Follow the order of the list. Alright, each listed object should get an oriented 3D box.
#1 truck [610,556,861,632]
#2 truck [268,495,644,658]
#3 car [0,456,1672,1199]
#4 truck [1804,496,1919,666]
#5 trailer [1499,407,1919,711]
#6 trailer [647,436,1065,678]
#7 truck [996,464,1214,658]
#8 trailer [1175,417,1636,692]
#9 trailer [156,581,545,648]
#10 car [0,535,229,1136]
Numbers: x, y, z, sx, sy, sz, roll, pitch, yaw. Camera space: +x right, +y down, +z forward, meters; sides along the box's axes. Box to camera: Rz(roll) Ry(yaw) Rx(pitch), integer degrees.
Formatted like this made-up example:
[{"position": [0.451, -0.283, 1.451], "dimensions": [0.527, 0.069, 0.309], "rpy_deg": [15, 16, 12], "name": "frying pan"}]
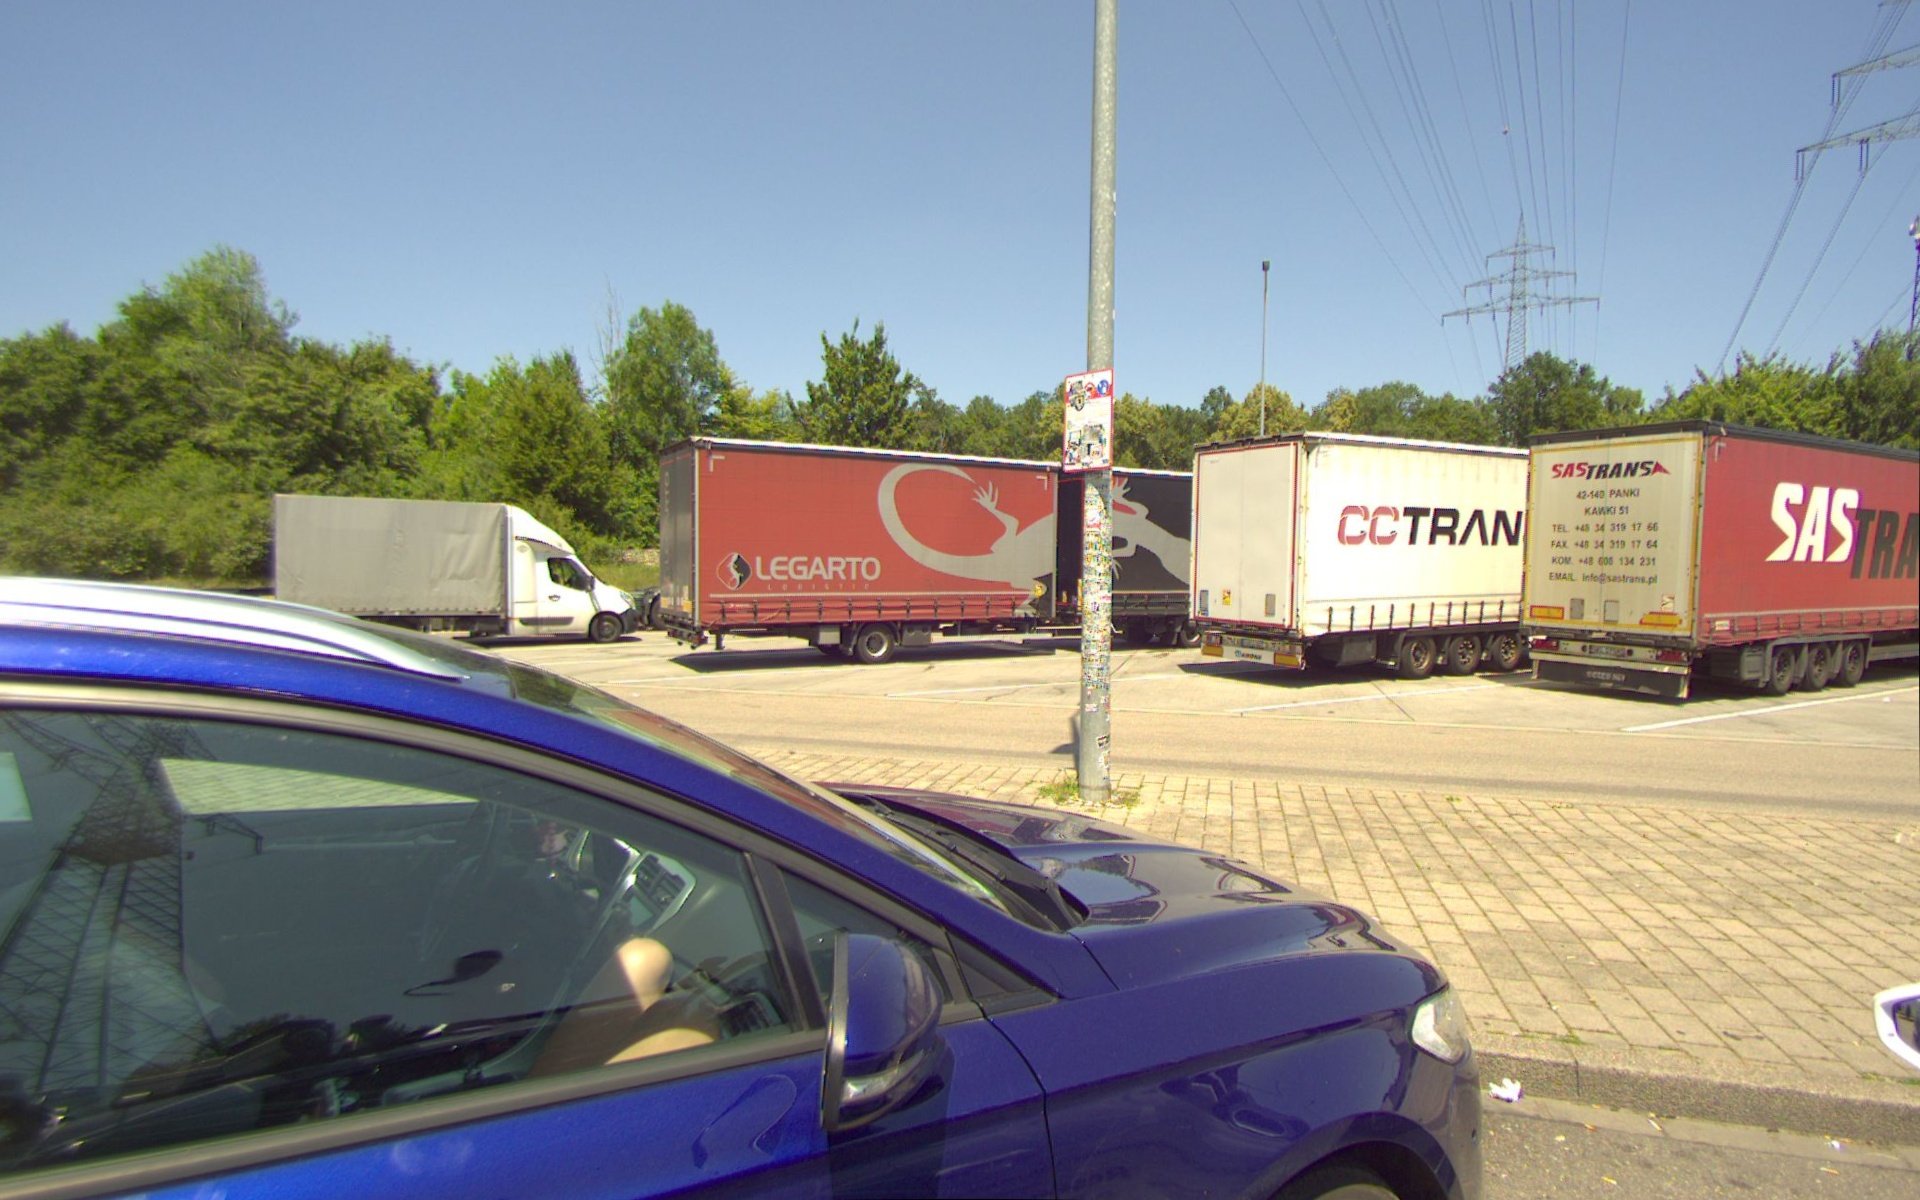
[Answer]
[{"position": [-6.485, -0.156, 29.521], "dimensions": [6.961, 2.040, 1.984], "rpy_deg": [0, 0, -30], "name": "truck"}, {"position": [-11.205, -0.567, 22.898], "dimensions": [7.254, 3.254, 2.515], "rpy_deg": [-1, 3, -30], "name": "truck"}, {"position": [-0.979, 0.652, 1.466], "dimensions": [4.592, 1.502, 1.727], "rpy_deg": [0, 0, -33], "name": "car"}, {"position": [21.725, -0.432, 22.307], "dimensions": [5.418, 3.475, 2.838], "rpy_deg": [-1, 3, -30], "name": "truck"}, {"position": [15.404, -0.703, 18.561], "dimensions": [13.559, 4.189, 2.892], "rpy_deg": [-1, 3, -30], "name": "trailer"}, {"position": [-1.928, -0.826, 20.263], "dimensions": [7.996, 4.101, 2.696], "rpy_deg": [-1, 3, -30], "name": "trailer"}, {"position": [3.354, -0.901, 23.358], "dimensions": [4.273, 4.072, 2.689], "rpy_deg": [-1, 3, -30], "name": "truck"}, {"position": [8.864, -0.819, 19.325], "dimensions": [10.049, 4.267, 2.714], "rpy_deg": [-1, 3, -30], "name": "trailer"}, {"position": [-14.833, 0.267, 25.180], "dimensions": [7.996, 1.394, 2.211], "rpy_deg": [-1, 3, -30], "name": "trailer"}, {"position": [-4.552, 0.581, 2.250], "dimensions": [4.592, 1.554, 1.726], "rpy_deg": [0, 1, -33], "name": "car"}]
